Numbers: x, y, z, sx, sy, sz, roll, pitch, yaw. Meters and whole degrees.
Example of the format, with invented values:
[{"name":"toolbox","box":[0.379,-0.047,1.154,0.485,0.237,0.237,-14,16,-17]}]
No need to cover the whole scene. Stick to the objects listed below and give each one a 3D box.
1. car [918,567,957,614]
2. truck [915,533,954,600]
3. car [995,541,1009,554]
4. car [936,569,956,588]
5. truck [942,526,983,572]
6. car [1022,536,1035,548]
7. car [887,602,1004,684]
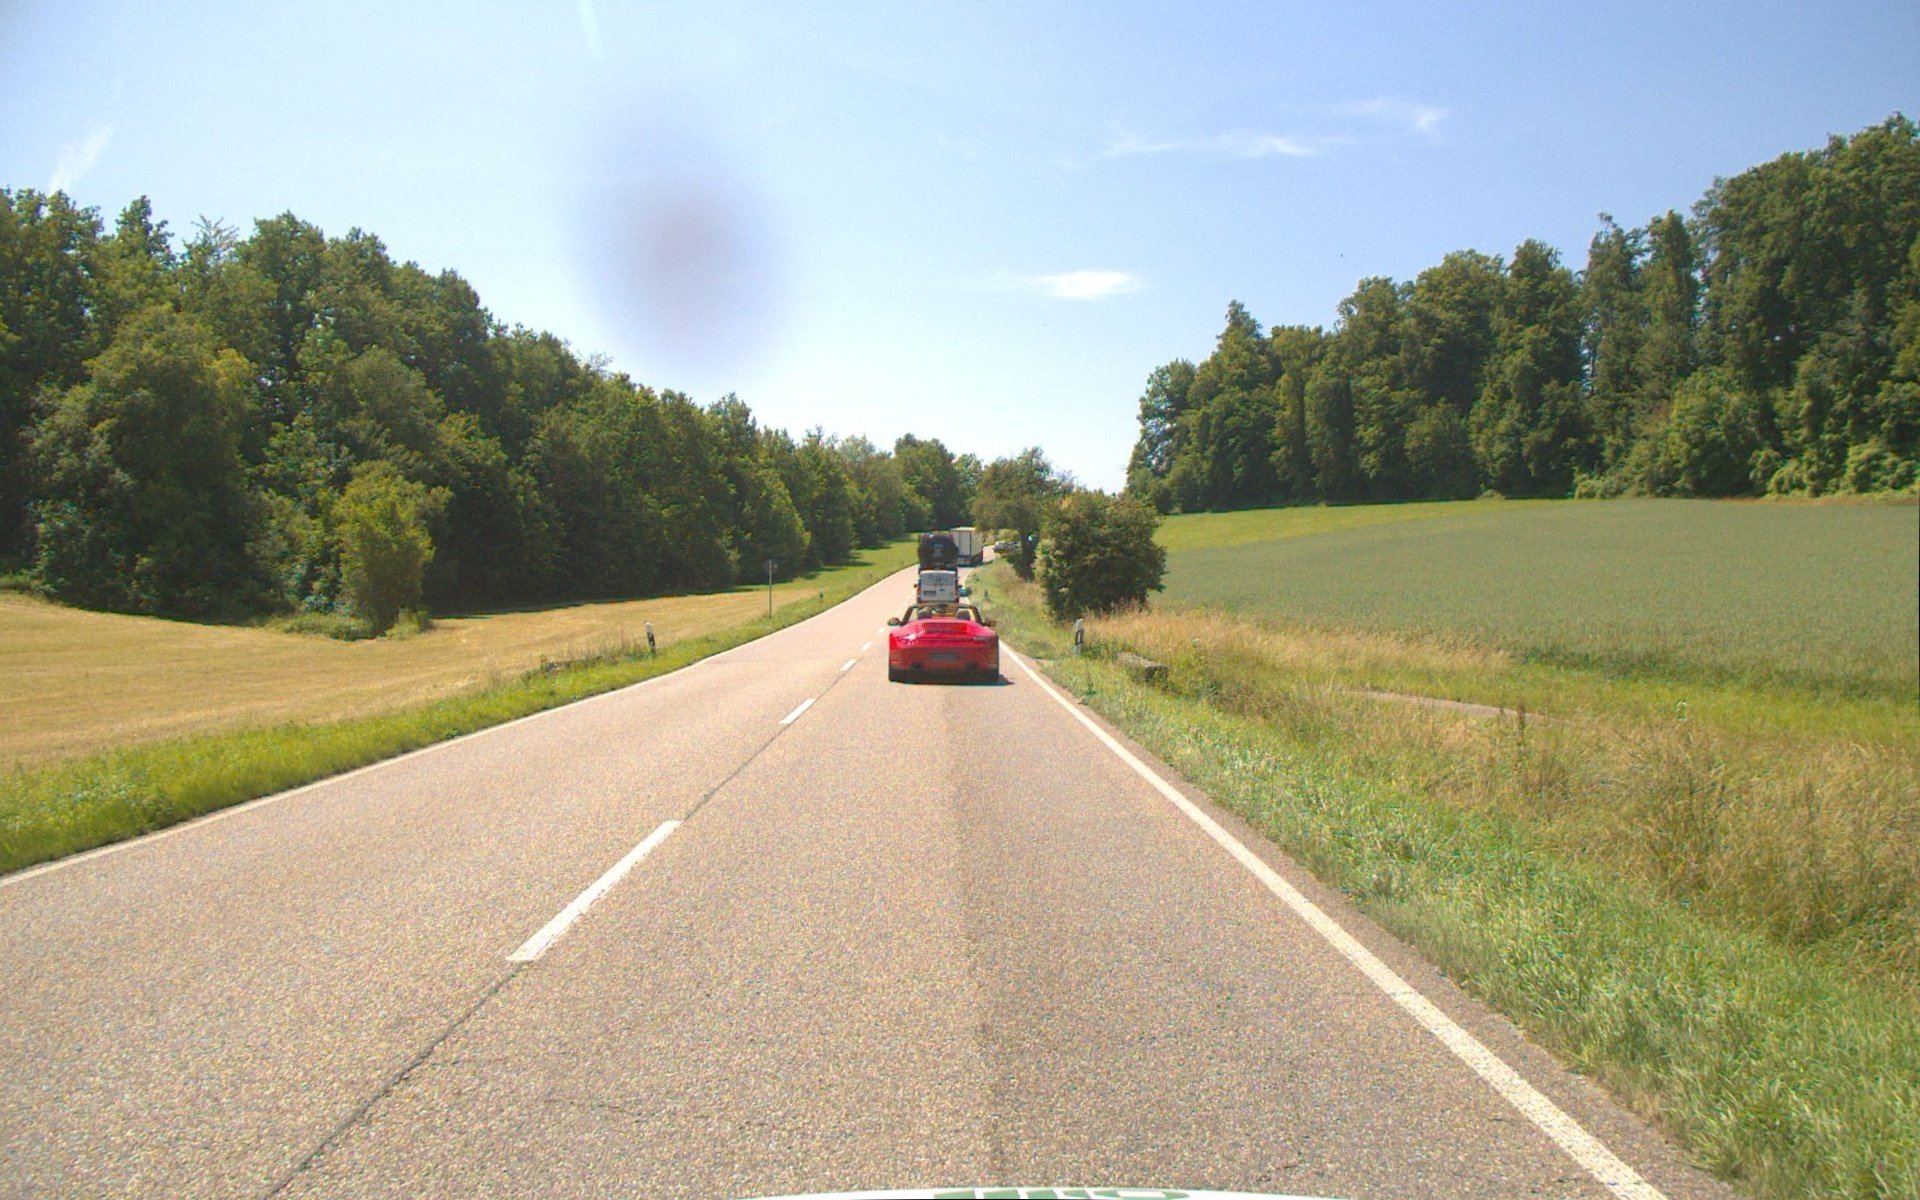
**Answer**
[{"name":"car","box":[-0.984,-0.429,72.309,1.644,1.933,4.009,0,2,-1]},{"name":"truck","box":[-1.756,-2.221,109.038,2.355,4.120,12.547,0,1,-2]},{"name":"car","box":[5.710,-7.196,225.815,1.663,1.522,3.713,-3,4,0]},{"name":"car","box":[-1.296,-1.942,151.185,1.794,1.539,4.191,-2,3,-1]},{"name":"truck","box":[0.348,-5.912,189.006,3.646,4.740,12.043,0,4,5]},{"name":"car","box":[10.470,-8.866,251.529,1.662,1.522,3.716,-3,4,6]},{"name":"car","box":[-0.261,0.684,28.229,1.844,1.277,4.008,0,0,-1]}]
